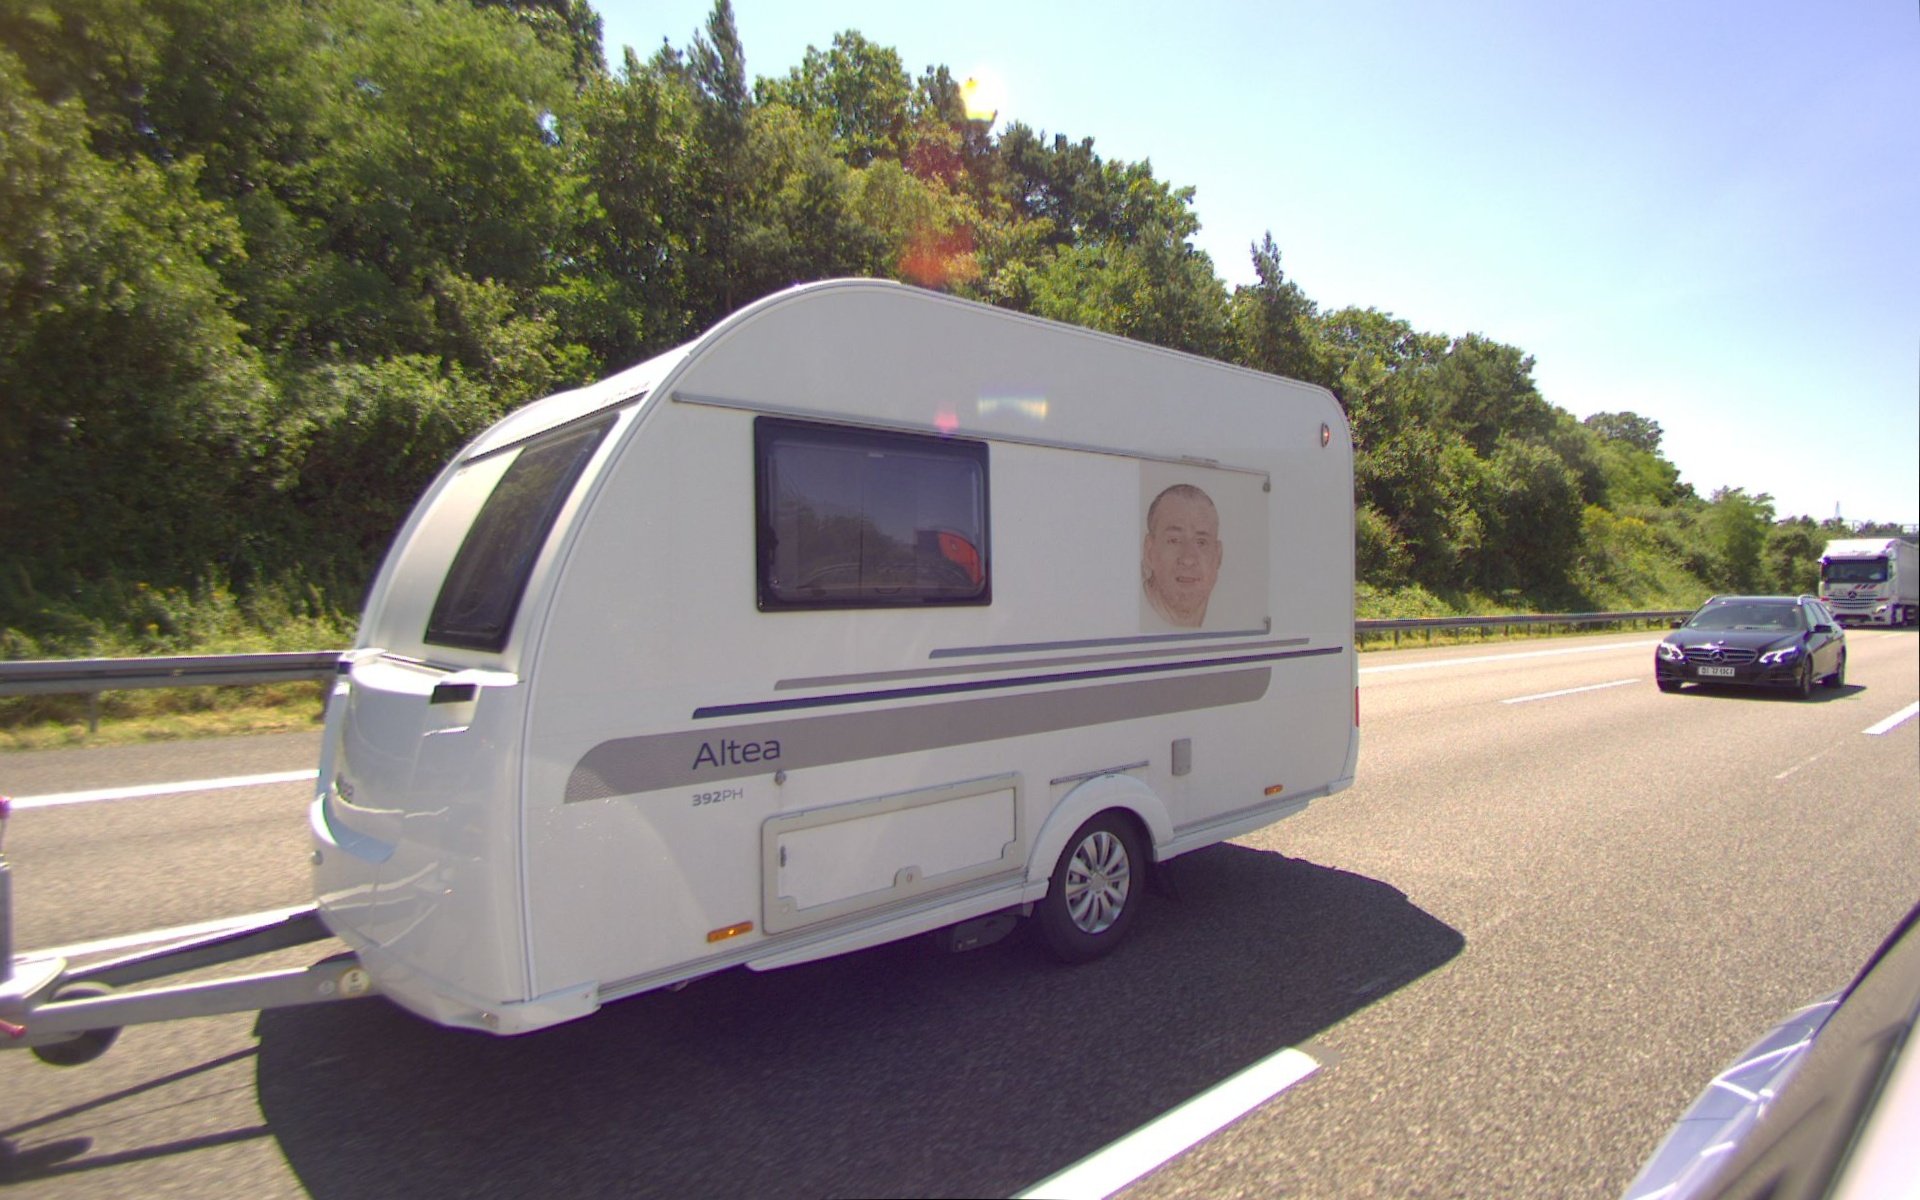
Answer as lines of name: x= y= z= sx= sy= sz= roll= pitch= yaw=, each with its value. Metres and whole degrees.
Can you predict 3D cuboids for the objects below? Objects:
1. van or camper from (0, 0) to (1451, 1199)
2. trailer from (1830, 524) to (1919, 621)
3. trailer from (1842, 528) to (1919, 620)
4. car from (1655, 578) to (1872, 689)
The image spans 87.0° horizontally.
van or camper: x=-0.337 y=0.029 z=4.678 sx=6.239 sy=2.709 sz=2.443 roll=0 pitch=-1 yaw=-41
trailer: x=42.400 y=-1.224 z=46.577 sx=6.672 sy=4.154 sz=2.717 roll=0 pitch=1 yaw=-42
trailer: x=47.298 y=-1.227 z=51.038 sx=12.964 sy=4.154 sz=2.732 roll=0 pitch=1 yaw=-42
car: x=12.921 y=0.477 z=16.164 sx=4.654 sy=1.525 sz=1.844 roll=0 pitch=-1 yaw=-40
